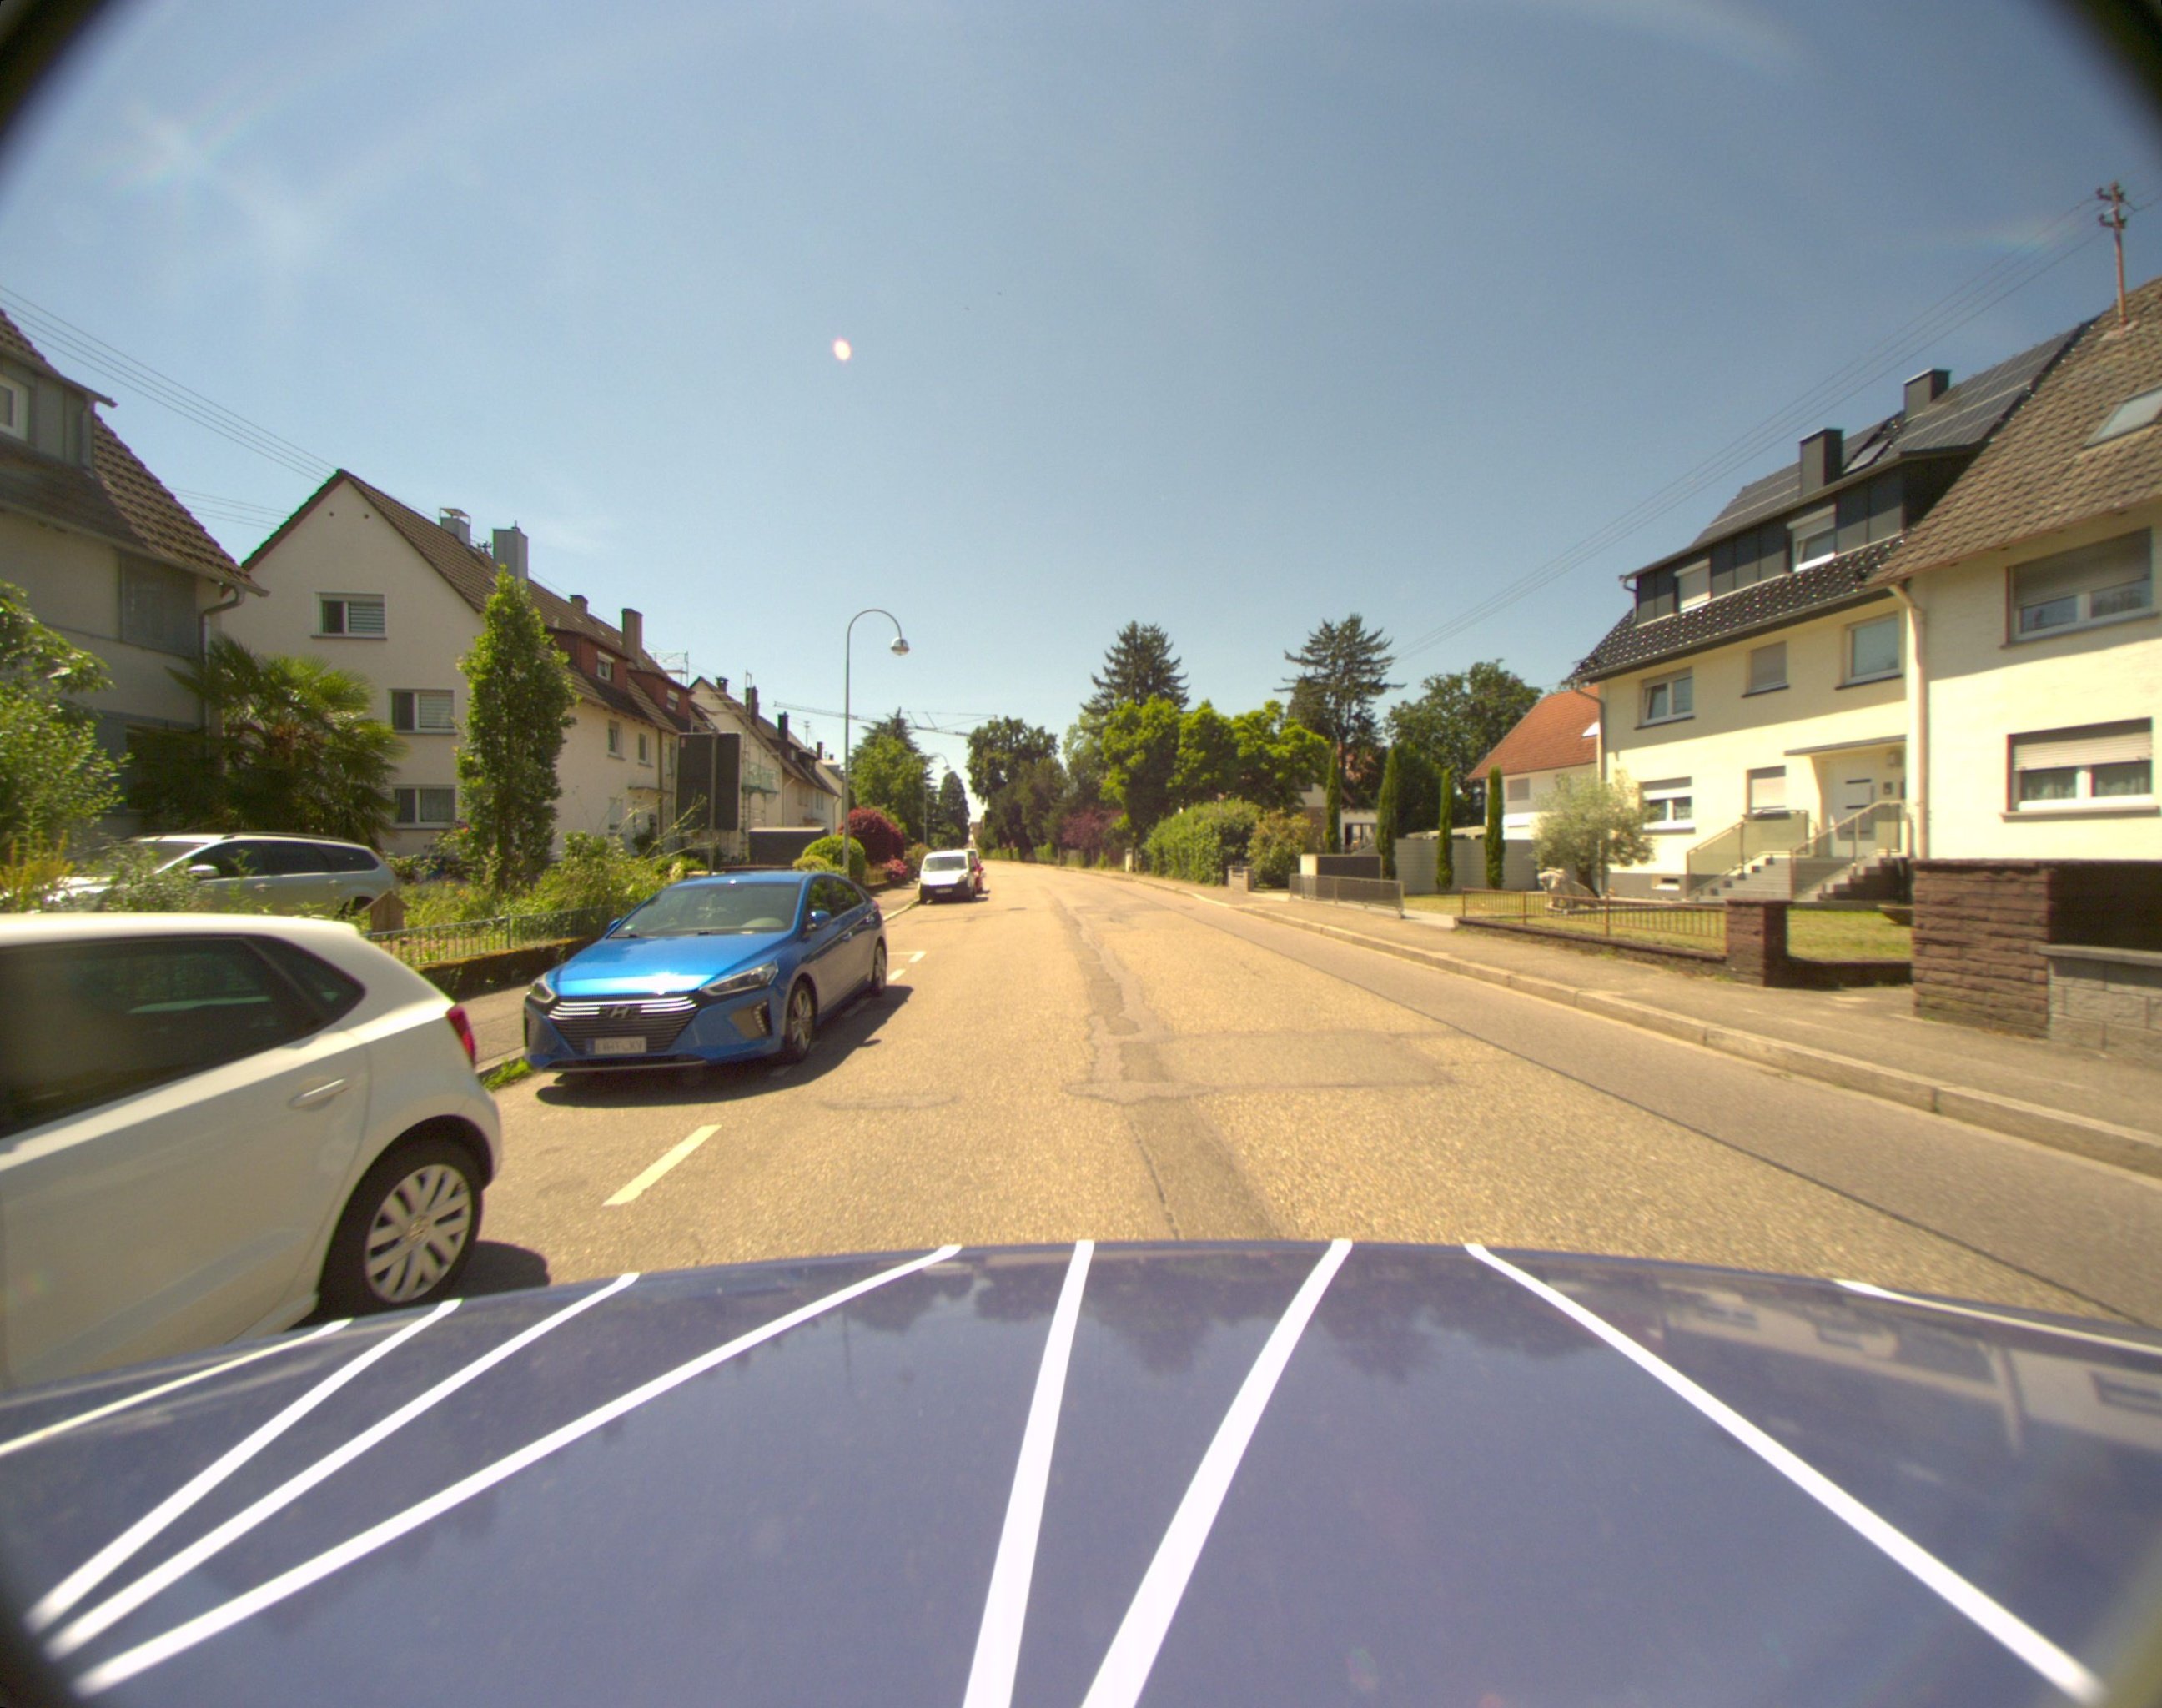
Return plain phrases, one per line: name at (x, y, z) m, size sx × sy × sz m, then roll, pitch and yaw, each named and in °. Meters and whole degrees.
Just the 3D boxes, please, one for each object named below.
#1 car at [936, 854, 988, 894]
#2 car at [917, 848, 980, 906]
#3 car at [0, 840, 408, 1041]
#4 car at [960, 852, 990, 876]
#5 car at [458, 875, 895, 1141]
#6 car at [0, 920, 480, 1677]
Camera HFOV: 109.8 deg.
car at (-4.790, 0.766, 31.048) m, size 1.689 × 1.488 × 3.939 m, roll -1°, pitch 0°, yaw -3°
car at (-4.483, 0.729, 26.161) m, size 1.689 × 1.769 × 3.938 m, roll -3°, pitch 1°, yaw -5°
car at (-10.953, 0.787, 9.049) m, size 1.922 × 1.839 × 4.529 m, roll 0°, pitch 0°, yaw -2°
car at (-7.054, 0.619, 50.953) m, size 1.689 × 1.488 × 3.939 m, roll -1°, pitch 0°, yaw -4°
car at (-3.005, 1.001, 6.844) m, size 1.689 × 1.445 × 4.361 m, roll -1°, pitch 0°, yaw -2°
car at (-3.060, 0.985, 0.955) m, size 1.689 × 1.446 × 3.739 m, roll -1°, pitch 0°, yaw -2°
